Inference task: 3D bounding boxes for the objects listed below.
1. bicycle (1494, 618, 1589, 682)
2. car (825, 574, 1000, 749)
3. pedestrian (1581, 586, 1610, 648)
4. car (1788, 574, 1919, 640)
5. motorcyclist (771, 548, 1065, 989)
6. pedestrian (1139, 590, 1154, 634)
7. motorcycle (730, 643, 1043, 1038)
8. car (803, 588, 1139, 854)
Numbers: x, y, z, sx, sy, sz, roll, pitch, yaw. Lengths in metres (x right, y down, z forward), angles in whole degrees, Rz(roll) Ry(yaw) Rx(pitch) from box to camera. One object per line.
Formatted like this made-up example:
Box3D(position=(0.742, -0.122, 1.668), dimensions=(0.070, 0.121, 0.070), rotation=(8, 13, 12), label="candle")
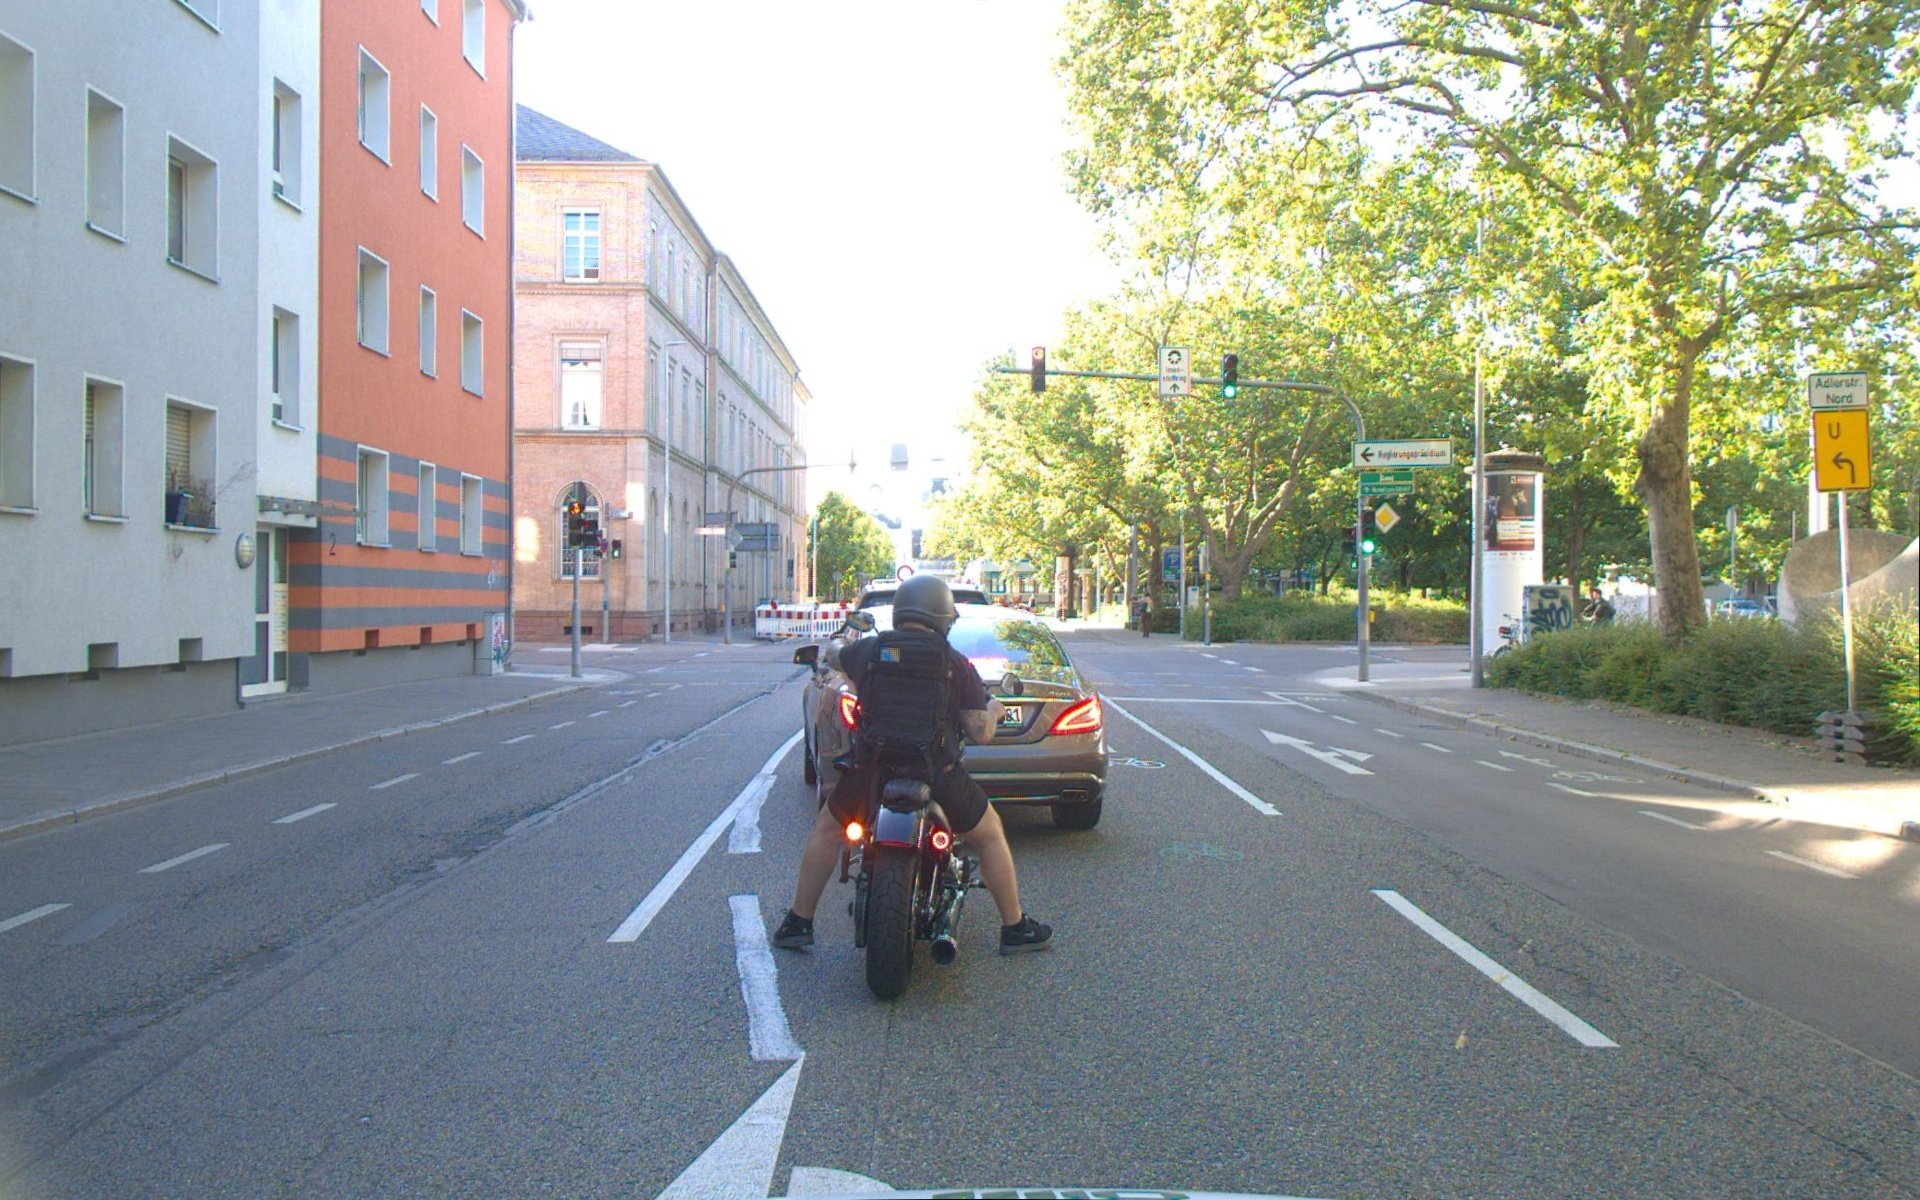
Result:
Box3D(position=(9.696, 0.832, 27.594), dimensions=(1.387, 1.055, 0.538), rotation=(0, 0, -5), label="bicycle")
Box3D(position=(-0.512, 0.578, 17.583), dimensions=(1.647, 1.653, 3.839), rotation=(0, 0, -2), label="car")
Box3D(position=(18.649, 0.495, 48.539), dimensions=(0.607, 1.815, 0.630), rotation=(0, 0, 1), label="pedestrian")
Box3D(position=(25.736, 0.185, 46.504), dimensions=(3.912, 1.815, 2.001), rotation=(0, 0, 4), label="car")
Box3D(position=(-0.122, 0.623, 6.790), dimensions=(1.089, 1.641, 1.203), rotation=(0, 0, 4), label="motorcyclist")
Box3D(position=(7.327, 0.469, 64.965), dimensions=(0.548, 1.707, 0.564), rotation=(0, 0, -1), label="pedestrian")
Box3D(position=(-0.183, 0.836, 6.864), dimensions=(0.986, 1.225, 2.666), rotation=(0, 0, 4), label="motorcycle")
Box3D(position=(-0.126, 0.682, 11.616), dimensions=(1.787, 1.502, 4.346), rotation=(0, 0, -7), label="car")
